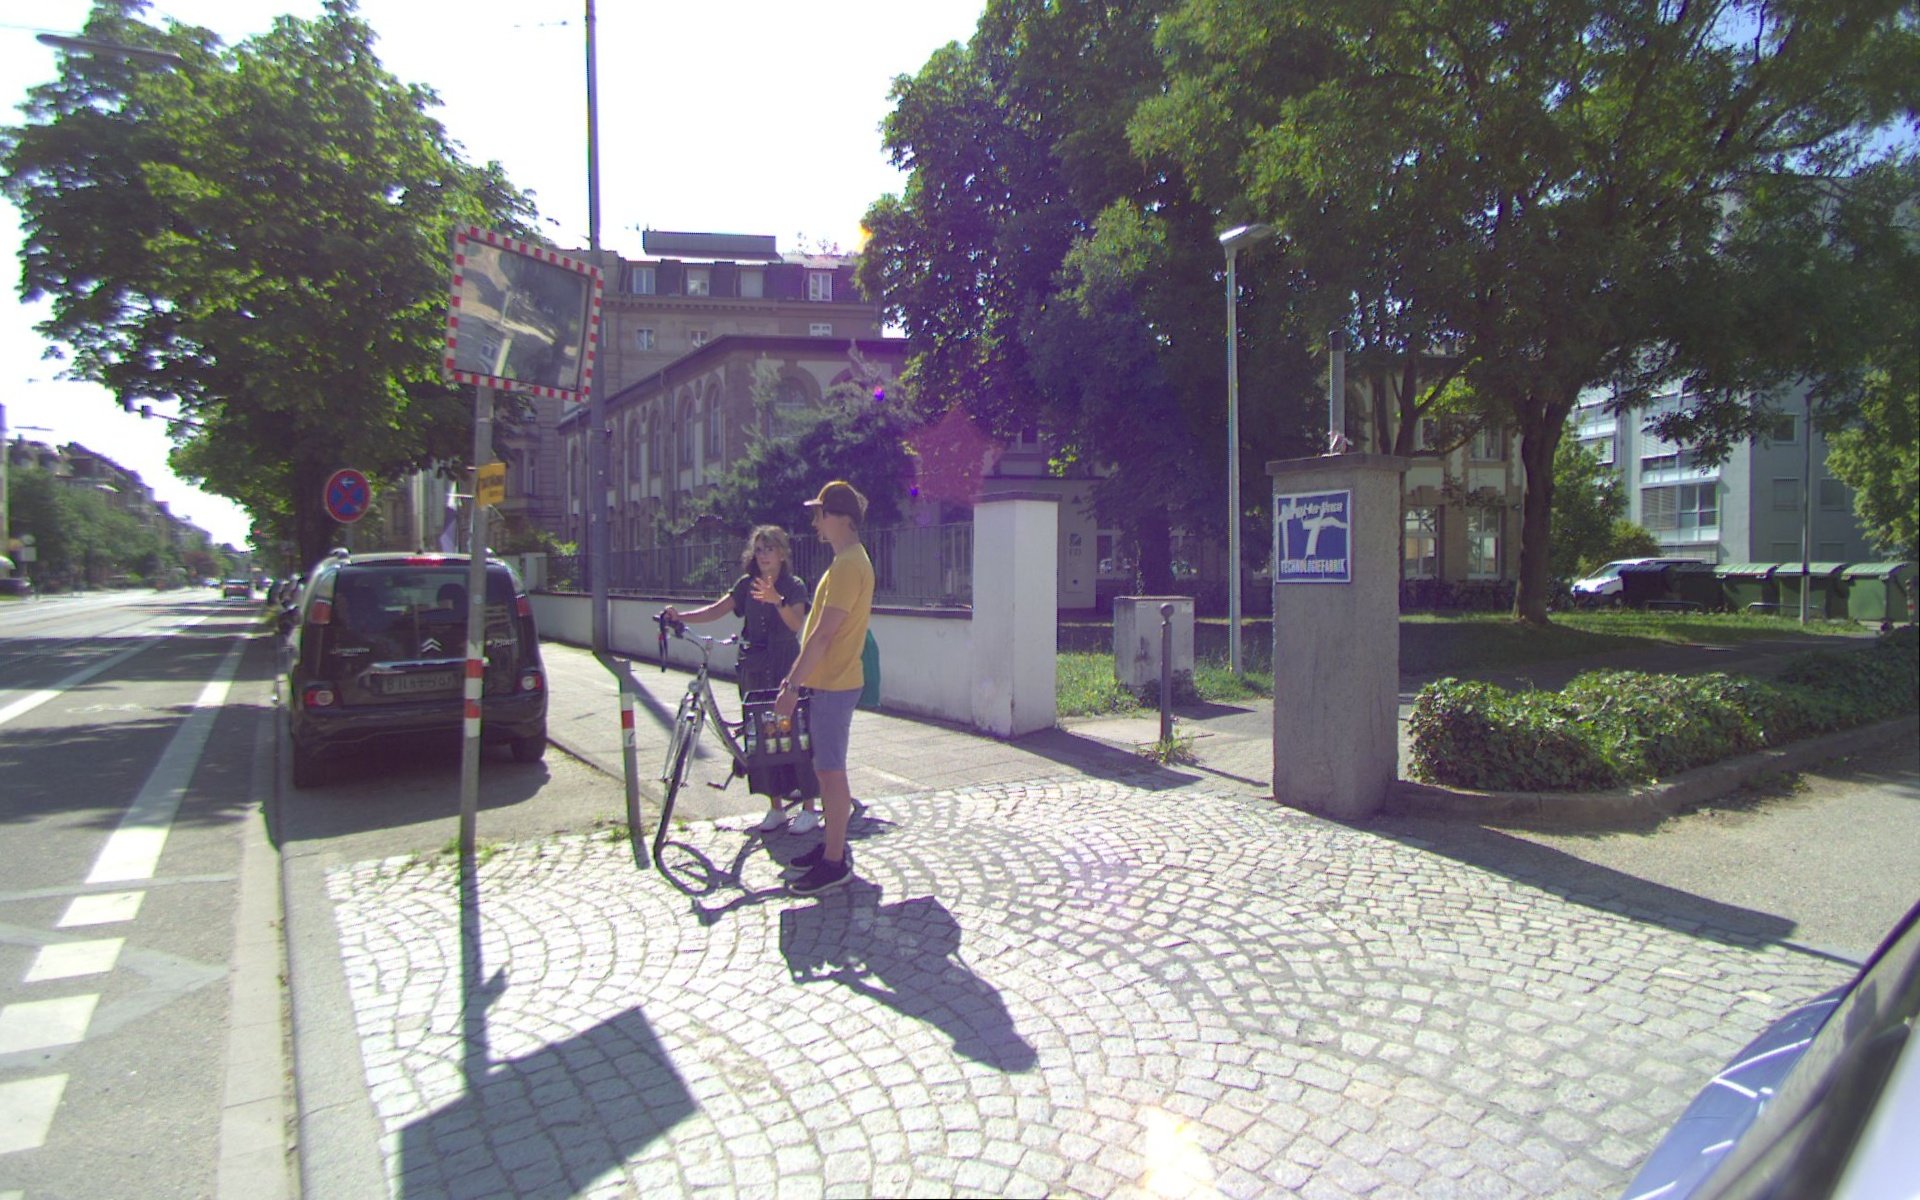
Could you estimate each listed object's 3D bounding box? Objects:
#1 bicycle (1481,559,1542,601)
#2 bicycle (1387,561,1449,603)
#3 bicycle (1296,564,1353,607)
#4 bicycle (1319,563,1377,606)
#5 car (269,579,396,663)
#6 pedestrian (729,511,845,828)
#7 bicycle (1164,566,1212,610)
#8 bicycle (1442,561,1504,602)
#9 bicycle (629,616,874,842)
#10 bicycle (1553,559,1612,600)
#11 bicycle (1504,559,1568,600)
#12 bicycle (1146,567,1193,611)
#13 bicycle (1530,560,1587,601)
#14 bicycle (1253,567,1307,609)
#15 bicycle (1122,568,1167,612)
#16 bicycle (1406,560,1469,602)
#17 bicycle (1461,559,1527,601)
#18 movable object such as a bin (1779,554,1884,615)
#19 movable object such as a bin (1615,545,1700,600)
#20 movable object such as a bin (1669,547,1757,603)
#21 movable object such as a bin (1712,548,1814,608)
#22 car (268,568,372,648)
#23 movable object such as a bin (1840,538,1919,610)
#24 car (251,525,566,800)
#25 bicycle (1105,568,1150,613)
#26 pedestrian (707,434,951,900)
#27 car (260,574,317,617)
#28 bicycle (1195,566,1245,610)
[{"bbox_3d":[16.298,-0.600,29.954,0.484,1.176,1.917,-1,2,-9],"label":"bicycle"},{"bbox_3d":[13.311,-0.533,29.493,0.576,1.176,2.106,-1,2,-9],"label":"bicycle"},{"bbox_3d":[10.479,-0.429,29.162,0.576,1.176,2.106,-1,2,-9],"label":"bicycle"},{"bbox_3d":[11.223,-0.460,29.313,0.576,1.176,2.106,-1,2,-9],"label":"bicycle"},{"bbox_3d":[-12.310,0.329,19.737,1.822,1.429,3.999,-2,2,-36],"label":"car"},{"bbox_3d":[-0.947,0.353,5.545,0.420,1.641,0.448,0,1,37],"label":"pedestrian"},{"bbox_3d":[6.460,-0.358,28.728,0.576,1.176,2.106,-1,2,-9],"label":"bicycle"},{"bbox_3d":[15.027,-0.552,29.706,0.576,1.176,1.925,-1,2,-9],"label":"bicycle"},{"bbox_3d":[-1.122,0.653,5.742,0.361,1.054,1.493,0,2,37],"label":"bicycle"},{"bbox_3d":[18.388,-0.614,29.923,0.547,1.176,1.945,-1,2,1],"label":"bicycle"},{"bbox_3d":[17.124,-0.617,30.134,0.601,1.176,1.854,-1,2,-9],"label":"bicycle"},{"bbox_3d":[5.877,-0.330,28.512,0.576,1.176,2.106,-1,2,-9],"label":"bicycle"},{"bbox_3d":[17.775,-0.601,30.079,0.497,1.176,1.807,-1,2,-5],"label":"bicycle"},{"bbox_3d":[9.154,-0.361,28.997,0.576,1.176,2.106,-1,2,-9],"label":"bicycle"},{"bbox_3d":[5.159,-0.309,28.404,0.576,1.176,2.106,-1,2,-9],"label":"bicycle"},{"bbox_3d":[13.950,-0.571,29.648,0.576,1.176,2.106,-1,2,-9],"label":"bicycle"},{"bbox_3d":[15.739,-0.599,29.888,0.576,1.176,2.106,-1,2,-9],"label":"bicycle"},{"bbox_3d":[19.629,-0.360,22.822,1.190,1.316,1.358,-1,1,-12],"label":"movable object such as a bin"},{"bbox_3d":[18.870,-0.751,27.413,1.224,1.427,1.439,-1,1,-13],"label":"movable object such as a bin"},{"bbox_3d":[19.227,-0.640,25.879,1.190,1.366,1.355,-1,1,-12],"label":"movable object such as a bin"},{"bbox_3d":[19.292,-0.526,24.365,1.190,1.378,1.505,-1,1,-12],"label":"movable object such as a bin"},{"bbox_3d":[-15.209,0.119,23.958,1.822,1.700,3.999,-2,2,-36],"label":"car"},{"bbox_3d":[19.822,-0.559,21.402,1.193,1.481,1.392,-1,1,3],"label":"movable object such as a bin"},{"bbox_3d":[-4.692,0.326,8.442,1.821,1.704,4.002,-2,2,-33],"label":"car"},{"bbox_3d":[4.594,-0.272,27.869,0.576,1.176,2.106,-1,2,-9],"label":"bicycle"},{"bbox_3d":[-0.620,0.254,4.658,0.837,1.888,0.831,-2,1,-29],"label":"pedestrian"},{"bbox_3d":[-28.415,-0.234,42.790,1.822,1.700,3.999,-2,2,-36],"label":"car"},{"bbox_3d":[7.372,-0.357,28.805,0.576,1.176,2.106,-1,2,-9],"label":"bicycle"}]
